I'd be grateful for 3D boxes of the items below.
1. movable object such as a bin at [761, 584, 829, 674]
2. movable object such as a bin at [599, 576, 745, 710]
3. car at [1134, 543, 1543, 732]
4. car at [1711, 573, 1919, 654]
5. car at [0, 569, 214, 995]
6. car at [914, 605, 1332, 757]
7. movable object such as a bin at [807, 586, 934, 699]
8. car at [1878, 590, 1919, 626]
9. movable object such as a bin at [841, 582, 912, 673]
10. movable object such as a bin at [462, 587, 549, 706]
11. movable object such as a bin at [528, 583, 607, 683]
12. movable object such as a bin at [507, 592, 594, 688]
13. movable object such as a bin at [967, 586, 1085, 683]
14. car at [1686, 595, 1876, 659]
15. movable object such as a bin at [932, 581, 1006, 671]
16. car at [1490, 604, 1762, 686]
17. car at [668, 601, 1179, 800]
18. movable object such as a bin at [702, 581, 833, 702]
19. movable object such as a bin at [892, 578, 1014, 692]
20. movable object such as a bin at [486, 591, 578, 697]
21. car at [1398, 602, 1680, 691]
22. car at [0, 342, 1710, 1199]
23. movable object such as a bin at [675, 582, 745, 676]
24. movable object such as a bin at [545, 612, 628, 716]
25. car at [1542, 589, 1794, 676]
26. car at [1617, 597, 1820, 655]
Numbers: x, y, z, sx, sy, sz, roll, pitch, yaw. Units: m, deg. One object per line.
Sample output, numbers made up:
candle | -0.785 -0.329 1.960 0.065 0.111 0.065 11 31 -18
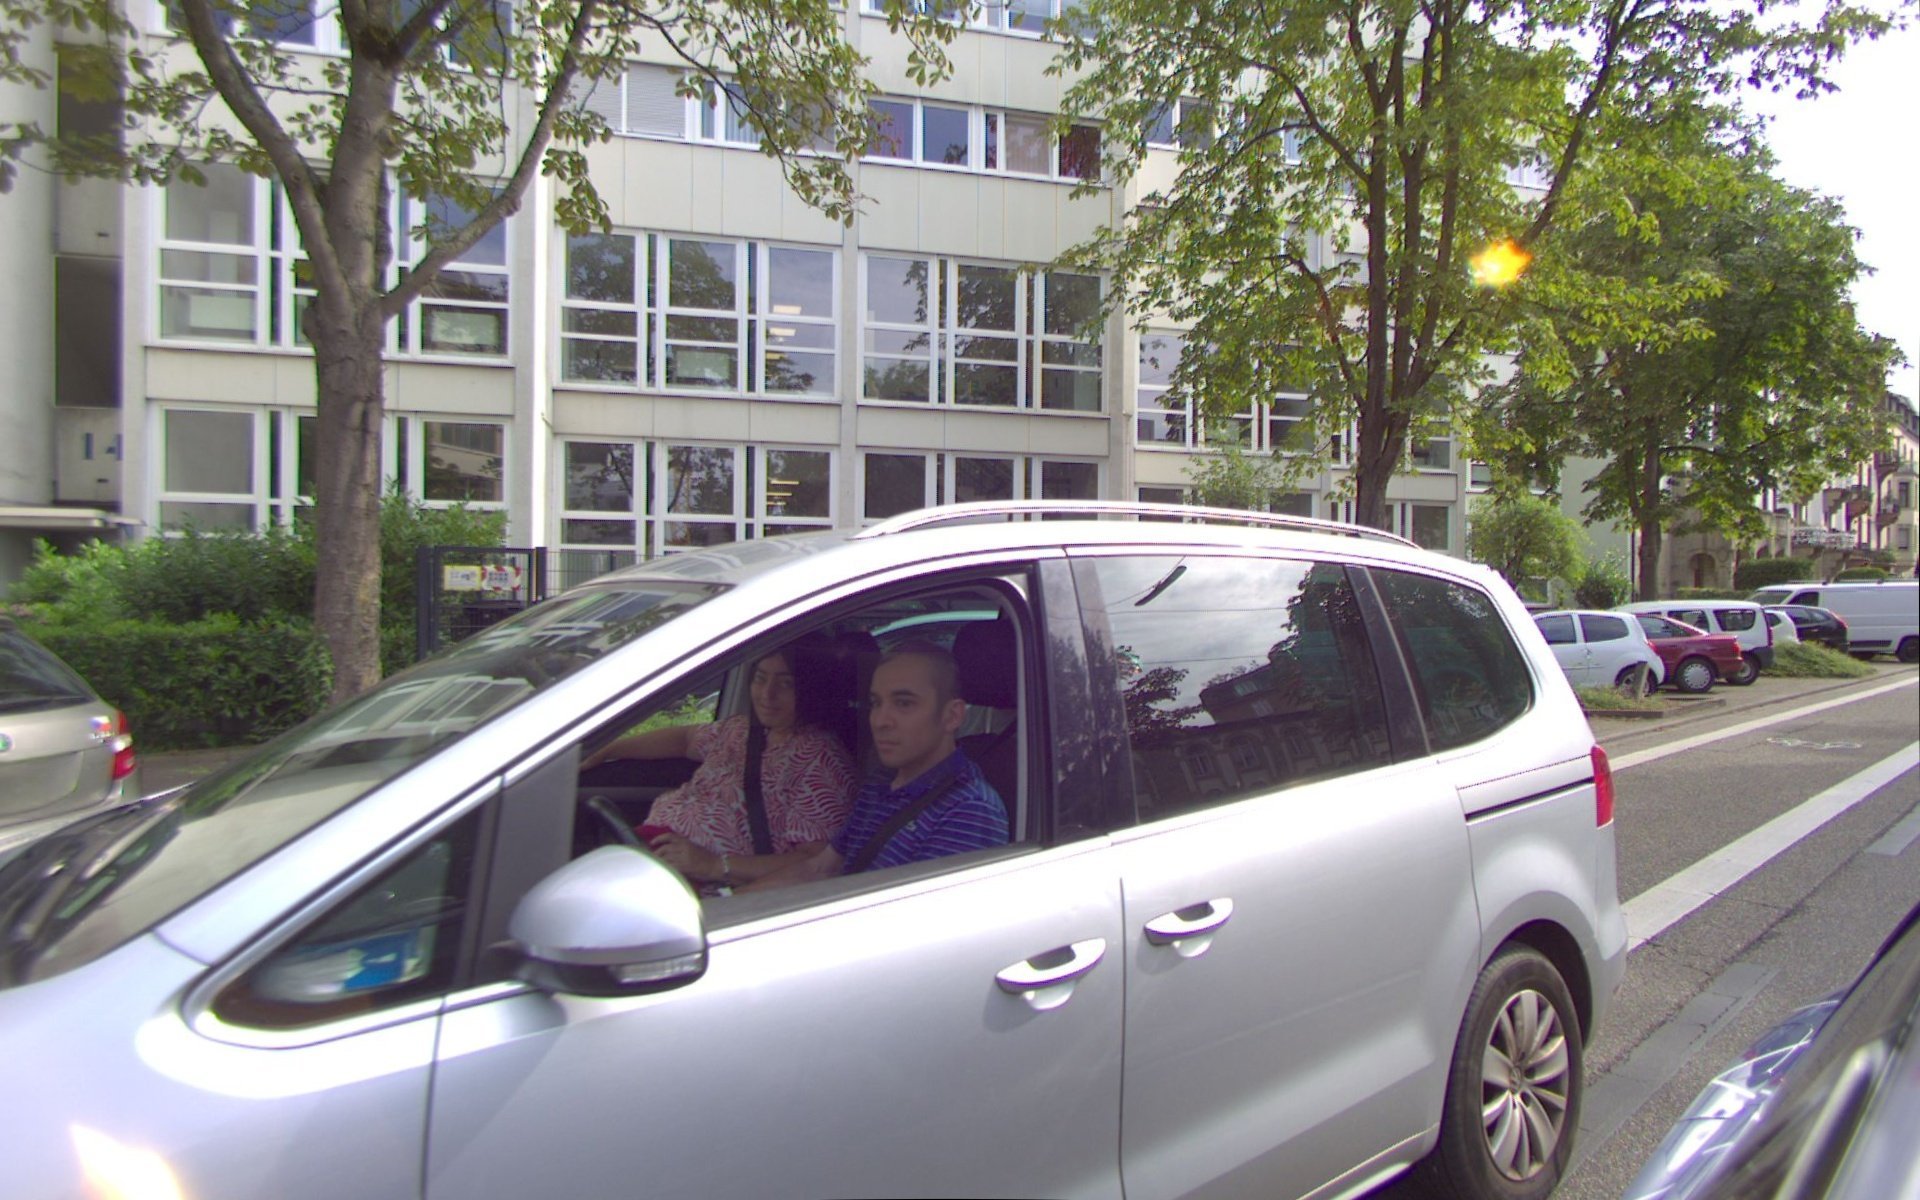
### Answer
movable object such as a bin | -2.945 0.498 17.971 1.150 1.533 1.182 0 0 -11
movable object such as a bin | -3.604 0.493 12.633 1.389 1.549 1.330 0 0 -36
car | 4.386 0.396 12.370 4.269 2.090 1.997 0 0 5
car | 25.109 0.355 28.999 5.350 2.203 2.143 0 0 9
car | -5.481 0.667 4.048 3.980 1.557 1.593 0 0 5
car | 1.566 0.768 10.450 3.902 1.405 1.812 0 -1 5
movable object such as a bin | -1.294 0.569 14.523 1.328 1.521 1.335 0 0 -36
car | 46.028 0.370 47.767 3.606 1.697 1.753 0 1 25
movable object such as a bin | -1.525 0.470 18.358 1.150 1.588 1.182 0 0 -11
movable object such as a bin | -5.706 0.559 12.773 0.893 1.425 1.026 0 0 -19
movable object such as a bin | -6.468 0.516 16.754 1.155 1.588 1.177 0 0 -19
movable object such as a bin | -6.203 0.574 15.402 1.155 1.387 1.177 0 0 -19
movable object such as a bin | 1.054 0.522 16.348 1.374 1.477 1.335 0 0 -36
car | 21.900 0.673 27.187 3.606 1.609 1.753 0 1 25
movable object such as a bin | 0.147 0.455 18.650 1.150 1.588 1.182 0 0 -11
car | 12.000 0.778 18.476 3.708 1.355 1.810 0 1 9
car | -0.254 0.728 8.284 3.793 1.410 1.632 0 0 4
movable object such as a bin | -2.607 0.516 13.653 1.312 1.523 1.335 0 0 -36
movable object such as a bin | -0.116 0.494 15.372 1.328 1.616 1.335 0 0 -36
movable object such as a bin | -5.933 0.581 14.089 1.095 1.409 1.065 0 0 -19
car | 9.351 0.720 16.590 3.580 1.347 1.765 0 1 5
car | -0.157 0.631 2.460 4.529 1.722 1.818 0 0 -34
movable object such as a bin | -4.379 0.494 17.837 1.150 1.588 1.182 0 0 -11
movable object such as a bin | -4.307 0.709 11.651 0.729 1.119 0.786 0 0 -34
car | 14.130 0.604 20.401 3.708 1.638 1.810 0 0 9
car | 18.540 0.619 24.873 3.580 1.347 1.765 0 1 5
